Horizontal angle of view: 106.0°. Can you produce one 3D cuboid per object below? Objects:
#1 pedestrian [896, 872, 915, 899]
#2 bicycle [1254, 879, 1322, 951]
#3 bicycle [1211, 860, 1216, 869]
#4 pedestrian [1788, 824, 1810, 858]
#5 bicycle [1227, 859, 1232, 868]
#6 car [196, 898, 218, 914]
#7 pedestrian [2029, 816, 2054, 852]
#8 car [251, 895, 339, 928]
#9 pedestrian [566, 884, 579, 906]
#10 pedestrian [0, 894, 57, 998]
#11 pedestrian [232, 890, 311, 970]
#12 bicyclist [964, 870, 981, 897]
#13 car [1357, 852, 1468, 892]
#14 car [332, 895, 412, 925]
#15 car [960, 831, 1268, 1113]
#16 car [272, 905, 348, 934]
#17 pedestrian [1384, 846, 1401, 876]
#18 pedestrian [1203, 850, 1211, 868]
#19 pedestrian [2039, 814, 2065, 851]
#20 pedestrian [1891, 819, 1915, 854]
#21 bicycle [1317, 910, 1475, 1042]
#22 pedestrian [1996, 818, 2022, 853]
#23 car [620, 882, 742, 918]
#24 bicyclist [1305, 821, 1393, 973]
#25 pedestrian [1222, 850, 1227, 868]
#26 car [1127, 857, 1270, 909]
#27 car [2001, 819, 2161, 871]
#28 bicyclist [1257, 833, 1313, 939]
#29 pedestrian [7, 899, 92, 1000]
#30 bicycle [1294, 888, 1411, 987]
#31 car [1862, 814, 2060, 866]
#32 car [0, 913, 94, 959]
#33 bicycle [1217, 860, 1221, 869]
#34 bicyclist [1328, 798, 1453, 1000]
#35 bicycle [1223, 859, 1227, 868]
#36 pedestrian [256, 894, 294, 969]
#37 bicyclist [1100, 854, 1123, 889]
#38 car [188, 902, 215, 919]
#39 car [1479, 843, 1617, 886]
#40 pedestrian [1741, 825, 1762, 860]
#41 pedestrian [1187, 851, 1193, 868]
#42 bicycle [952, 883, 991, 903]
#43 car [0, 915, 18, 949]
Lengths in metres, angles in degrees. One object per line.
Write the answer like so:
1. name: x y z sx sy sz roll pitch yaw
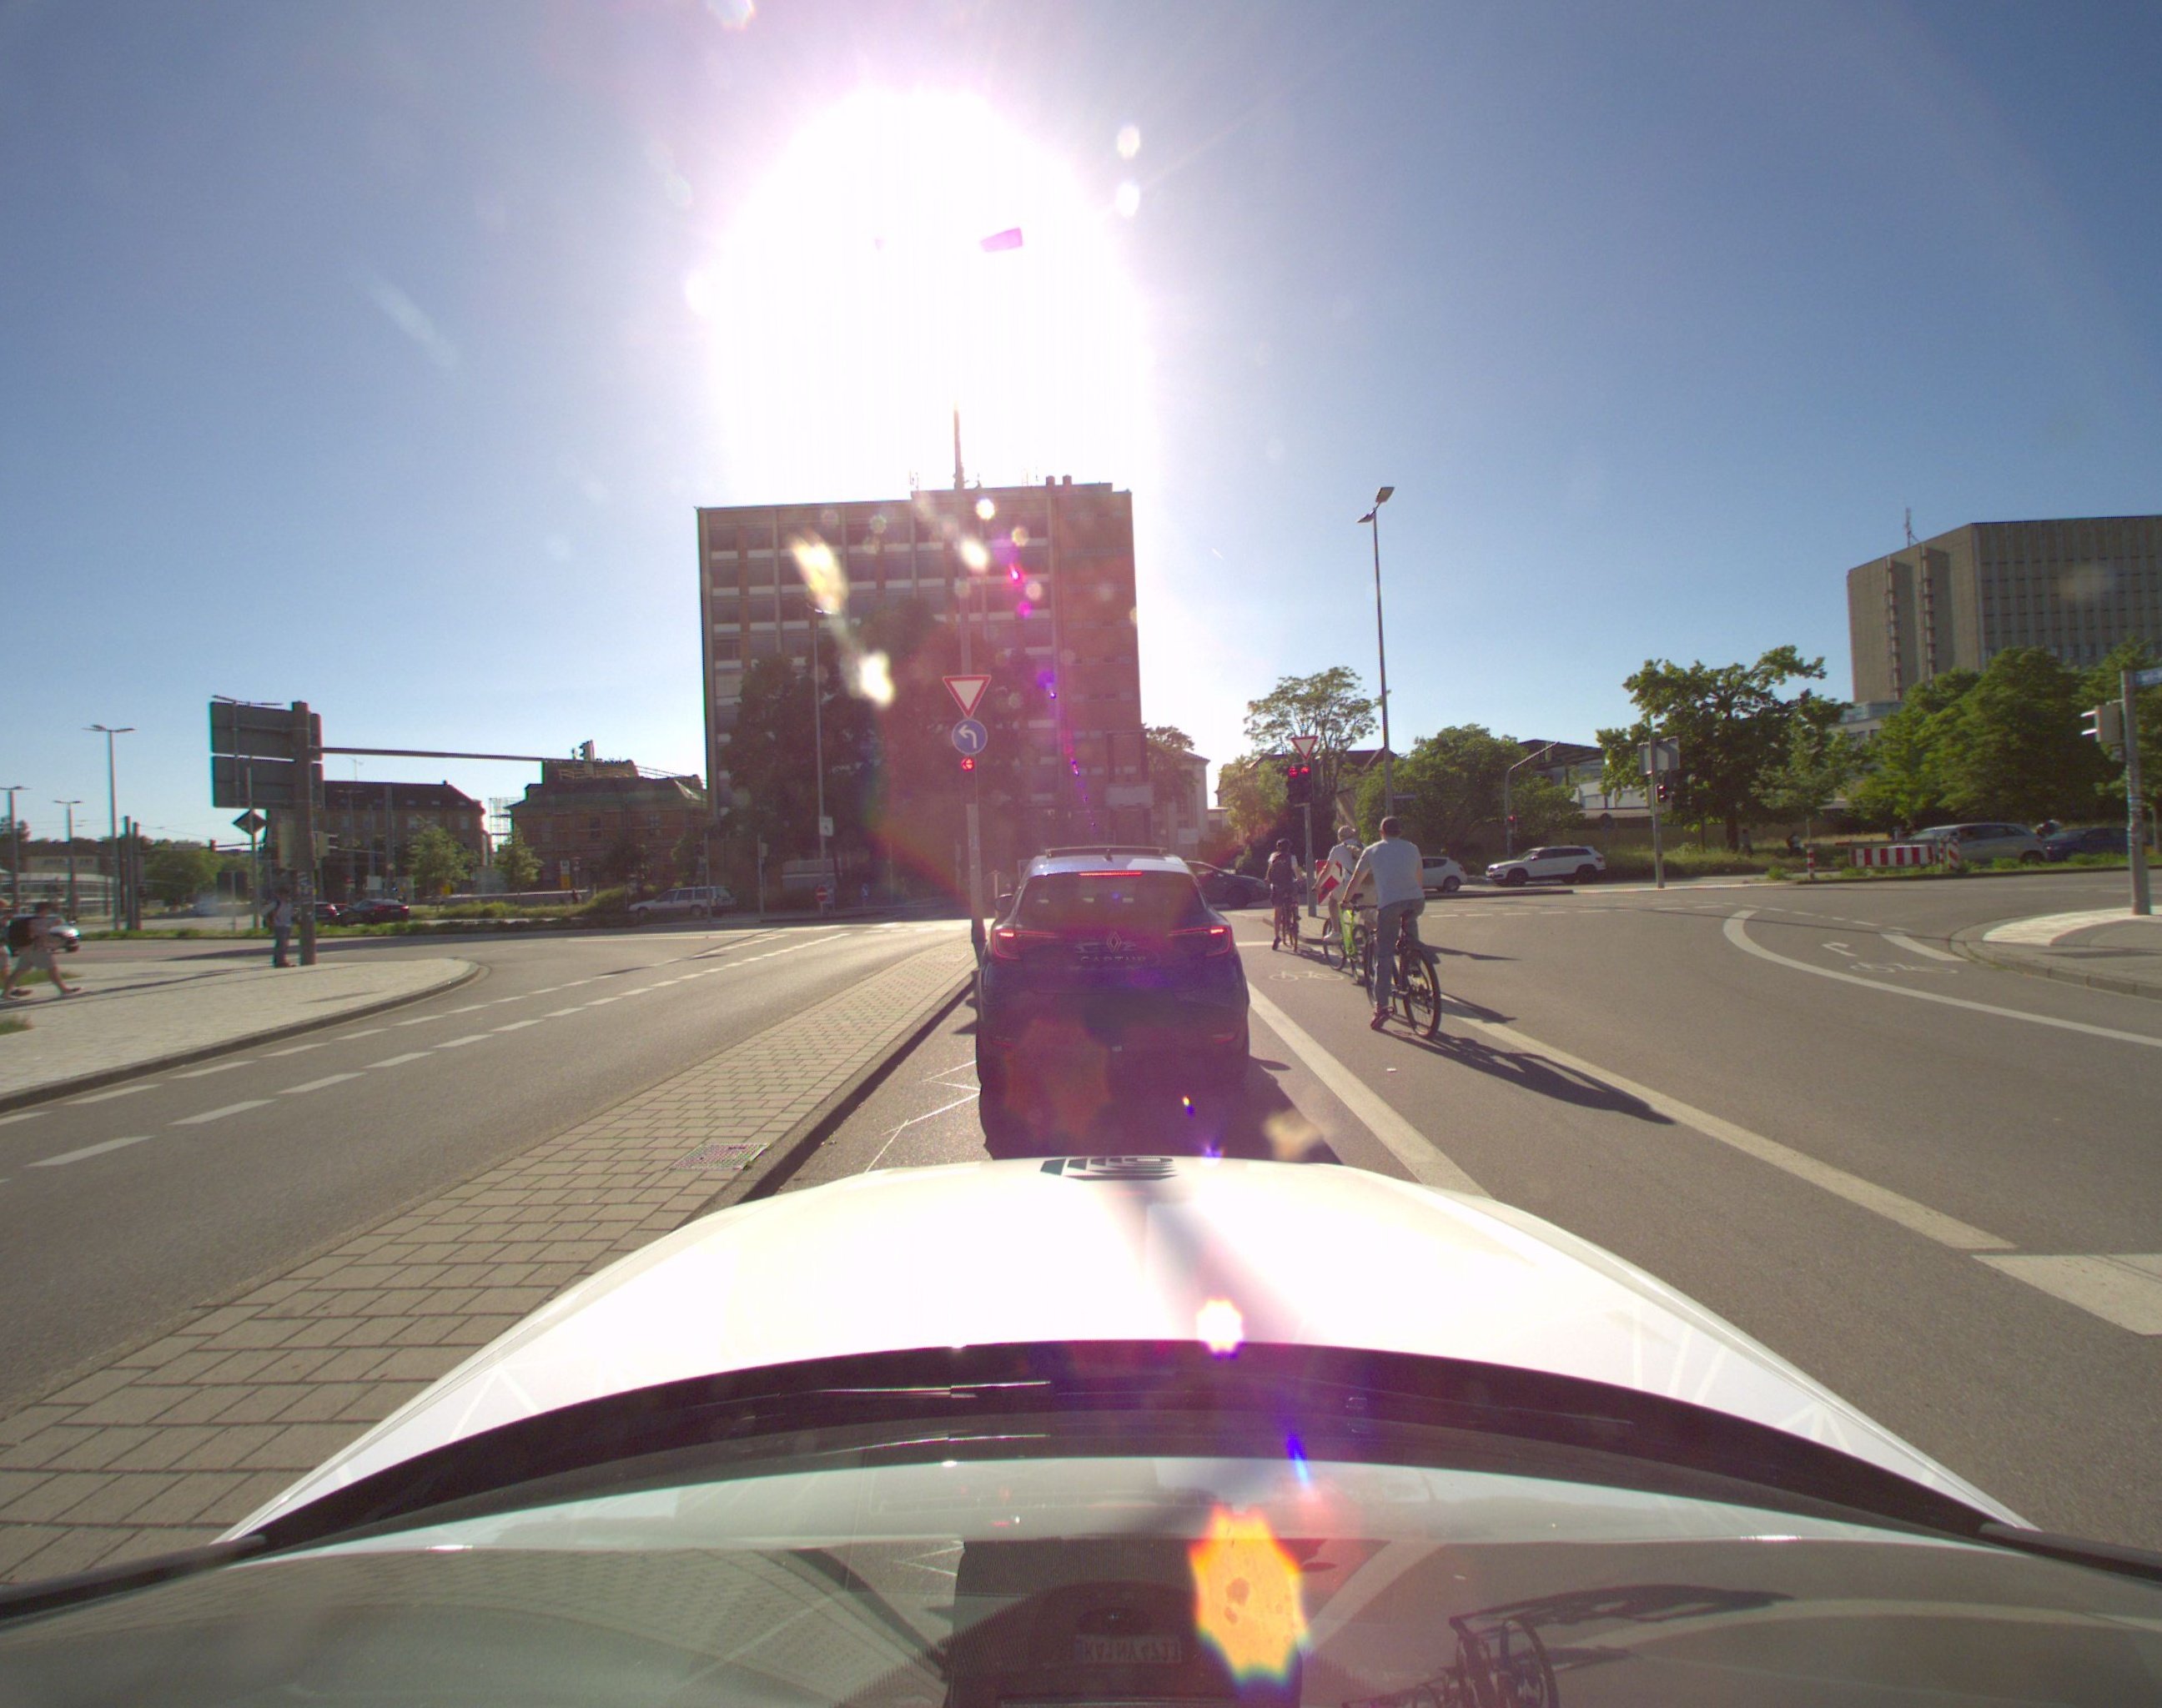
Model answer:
1. pedestrian: -10.833 1.925 50.236 0.853 1.571 0.562 -6 -1 16
2. bicycle: 3.249 0.925 12.943 0.735 0.995 2.177 0 -1 6
3. bicycle: 15.261 1.224 93.890 0.403 0.973 1.686 0 -1 6
4. pedestrian: 36.241 -0.666 41.102 0.559 1.695 0.528 -2 -1 5
5. bicycle: 17.191 1.068 94.182 0.403 0.973 1.686 0 -1 6
6. car: -122.416 7.288 114.057 3.949 2.013 2.012 -3 -1 43
7. pedestrian: 47.358 -0.979 40.155 0.559 1.695 0.528 -3 -1 5
8. car: -44.151 3.240 45.729 4.335 1.632 1.854 -3 -1 21
9. pedestrian: -38.360 3.095 61.490 0.541 1.615 0.653 -3 -1 41
10. pedestrian: -19.303 1.663 14.579 0.696 1.800 1.110 -6 -3 30
11. pedestrian: -18.222 1.695 18.360 0.900 1.690 0.839 -4 -3 -3
12. bicyclist: -5.888 1.593 44.063 0.741 1.441 0.593 -2 -1 -25
13. car: 13.295 0.726 32.863 3.815 1.435 1.746 -2 -1 7
14. car: -42.583 3.365 48.913 4.334 1.632 1.854 -3 -1 23
15. car: 0.204 0.706 6.812 1.798 1.632 3.999 -1 0 0
16. car: -48.667 4.141 51.375 4.334 1.632 1.854 -2 0 23
17. pedestrian: 16.769 0.383 43.851 0.732 1.603 0.601 -3 -1 14
18. pedestrian: 13.448 0.524 86.825 0.623 1.856 0.562 -2 -1 -6
19. pedestrian: 47.158 -1.029 39.558 0.559 1.778 0.528 -3 -1 5
20. pedestrian: 41.173 -0.866 40.795 0.559 1.695 0.528 -3 -1 5
21. bicycle: 2.724 1.015 7.289 0.737 0.896 1.980 0 -1 3
22. pedestrian: 45.516 -0.905 39.941 0.559 1.695 0.528 -3 -1 5
23. car: -18.638 2.143 38.064 4.856 1.388 1.848 -3 -1 8
24. bicyclist: 3.216 0.492 9.859 0.644 1.739 1.065 0 -1 -4
25. pedestrian: 16.217 0.597 92.192 0.473 2.014 0.469 -2 -1 8
26. car: 3.543 0.899 24.329 4.030 1.389 1.849 -2 -4 11
27. car: 40.576 -0.323 33.009 3.963 2.014 2.005 -1 -1 9
28. bicyclist: 3.239 0.498 12.997 0.722 1.629 0.970 0 -1 6
29. pedestrian: -18.510 1.698 14.633 0.793 1.690 0.785 -2 -4 -41
30. bicycle: 3.215 0.953 9.861 0.657 1.003 1.967 0 -1 -4
31. car: 28.139 -0.425 26.176 4.025 1.408 1.872 -2 -1 8
32. car: -42.023 3.302 32.723 4.206 1.581 1.804 -4 0 23
33. bicycle: 15.879 1.219 93.831 0.403 0.973 1.686 0 -1 6
34. bicyclist: 2.715 0.380 7.254 0.748 1.668 1.017 0 -1 3
35. bicycle: 16.657 1.072 94.181 0.403 0.973 1.686 0 -1 6
36. pedestrian: -19.230 1.833 19.440 0.600 1.729 0.572 -2 -1 -45
37. bicyclist: 1.673 0.980 44.929 1.094 1.867 0.655 -3 -1 12
38. car: -112.562 7.224 104.190 3.948 2.013 2.013 -3 -1 38
39. car: 20.025 0.436 35.094 4.796 1.632 1.848 -2 -1 8
40. pedestrian: 33.565 -0.558 40.768 0.559 1.695 0.528 -3 -1 5
41. pedestrian: 12.258 0.631 91.790 0.609 1.856 0.468 -2 -1 7
42. bicycle: -5.925 2.109 44.036 2.016 0.964 0.593 -2 -1 -25
43. car: -55.389 4.002 40.603 4.644 1.619 1.854 -4 -3 24
